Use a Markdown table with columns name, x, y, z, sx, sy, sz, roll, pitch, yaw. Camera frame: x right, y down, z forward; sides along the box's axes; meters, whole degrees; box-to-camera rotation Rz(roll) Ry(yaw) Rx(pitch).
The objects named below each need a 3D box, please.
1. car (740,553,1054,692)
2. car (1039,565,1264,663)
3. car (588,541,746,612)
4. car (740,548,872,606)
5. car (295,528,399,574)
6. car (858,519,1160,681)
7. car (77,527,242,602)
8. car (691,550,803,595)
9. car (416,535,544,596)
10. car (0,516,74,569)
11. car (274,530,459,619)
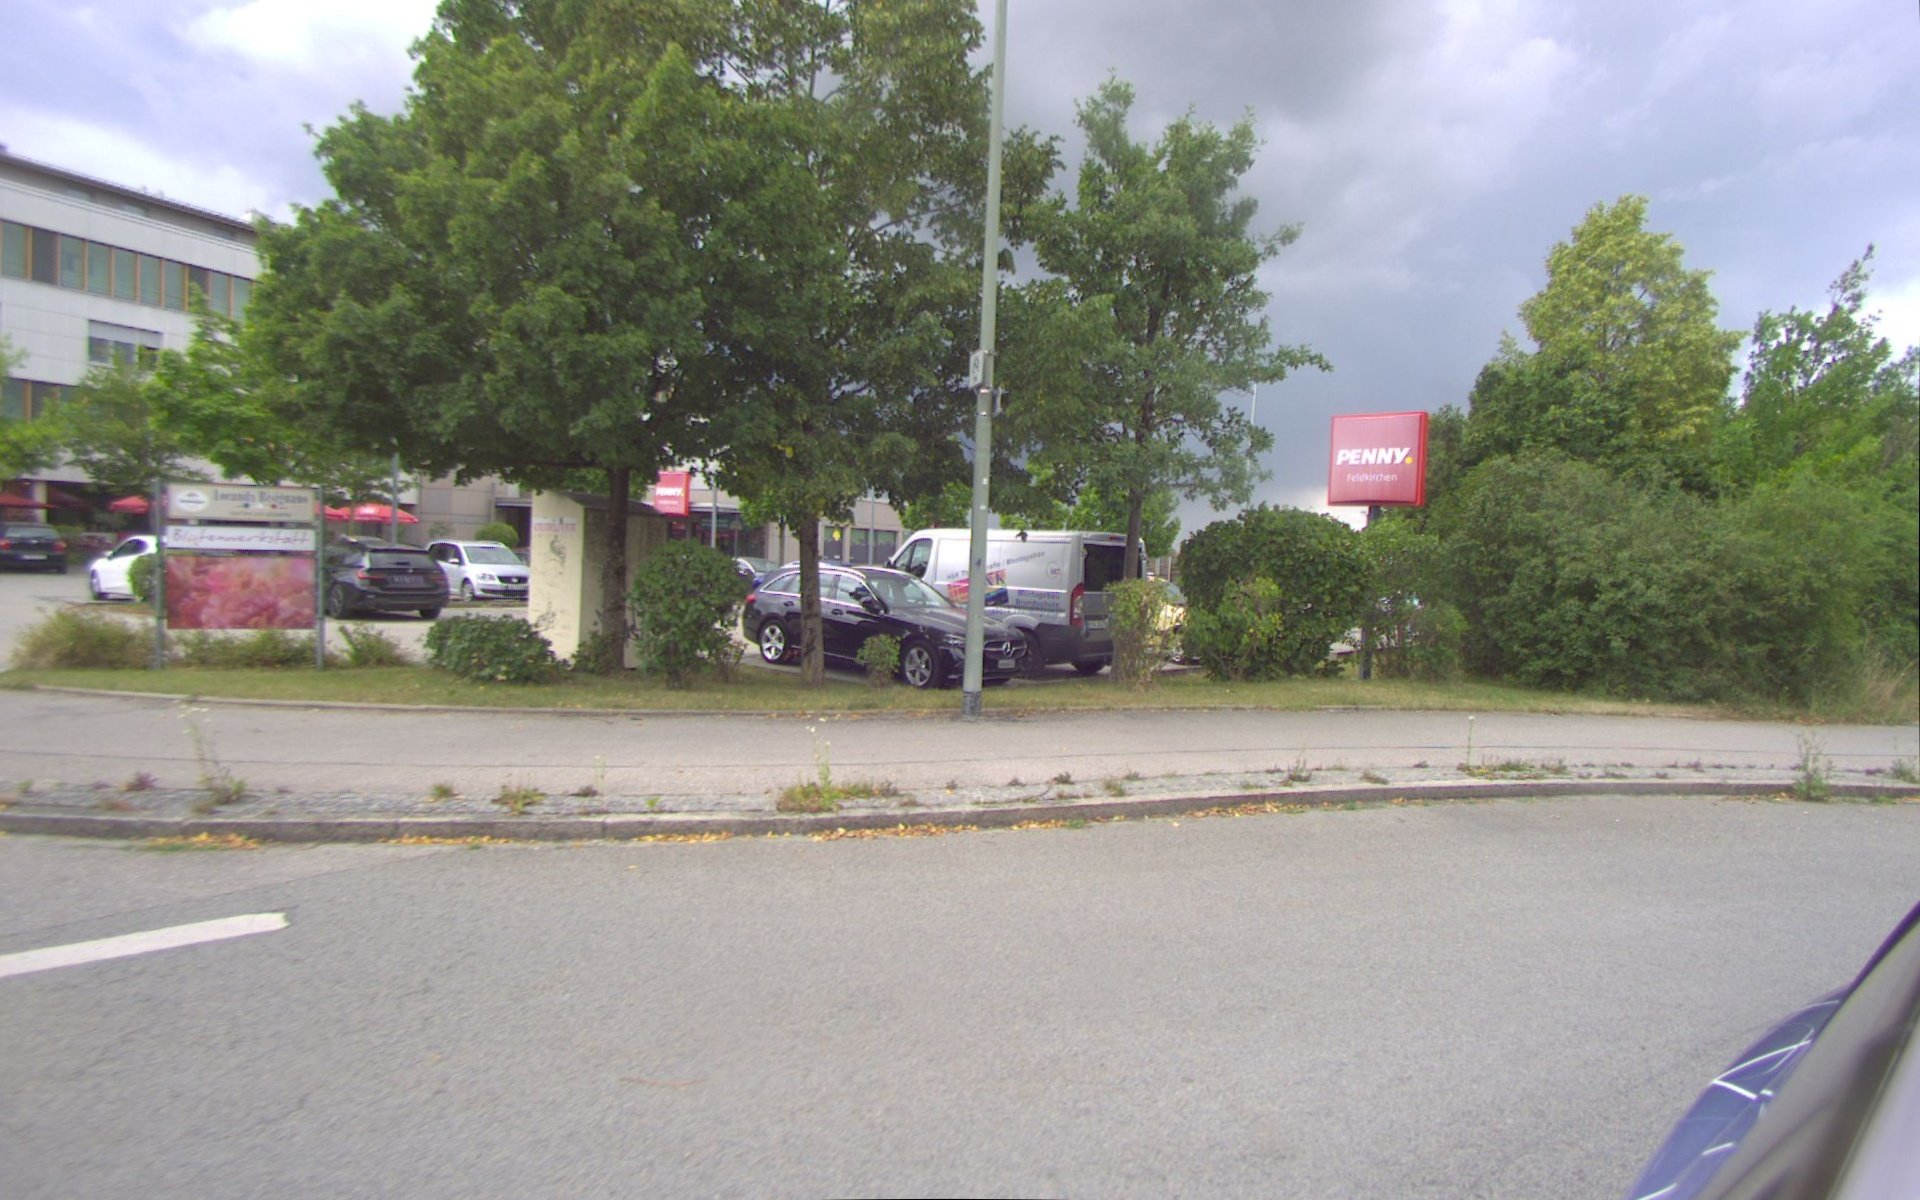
| name | x | y | z | sx | sy | sz | roll | pitch | yaw |
| --- | --- | --- | --- | --- | --- | --- | --- | --- | --- |
| car | -1.006 | 0.205 | 14.243 | 4.398 | 1.511 | 1.737 | 5 | 3 | 40 |
| car | 3.675 | 0.201 | 19.736 | 3.922 | 1.575 | 1.737 | 5 | 3 | 40 |
| car | -7.325 | -0.614 | 25.172 | 3.981 | 1.561 | 1.796 | 4 | 3 | 39 |
| car | -4.476 | -0.690 | 29.259 | 3.774 | 1.522 | 1.636 | 4 | 3 | 39 |
| car | -22.261 | -1.787 | 36.731 | 3.976 | 1.474 | 1.799 | 4 | 3 | 35 |
| car | 0.693 | -0.112 | 16.274 | 4.398 | 2.185 | 2.126 | 5 | 3 | 40 |
| car | -17.406 | -0.783 | 21.963 | 3.975 | 1.475 | 1.799 | 2 | 2 | 35 |
| car | -7.403 | -0.943 | 35.015 | 4.072 | 1.475 | 1.784 | 1 | 1 | 42 |
| car | -12.988 | -0.894 | 27.275 | 4.075 | 1.529 | 1.845 | 1 | 1 | 45 |
| car | -28.302 | -1.749 | 30.296 | 3.976 | 1.474 | 1.799 | 4 | 3 | 35 |
| car | -11.568 | -0.541 | 19.644 | 3.981 | 1.474 | 1.796 | 4 | 3 | 39 |
